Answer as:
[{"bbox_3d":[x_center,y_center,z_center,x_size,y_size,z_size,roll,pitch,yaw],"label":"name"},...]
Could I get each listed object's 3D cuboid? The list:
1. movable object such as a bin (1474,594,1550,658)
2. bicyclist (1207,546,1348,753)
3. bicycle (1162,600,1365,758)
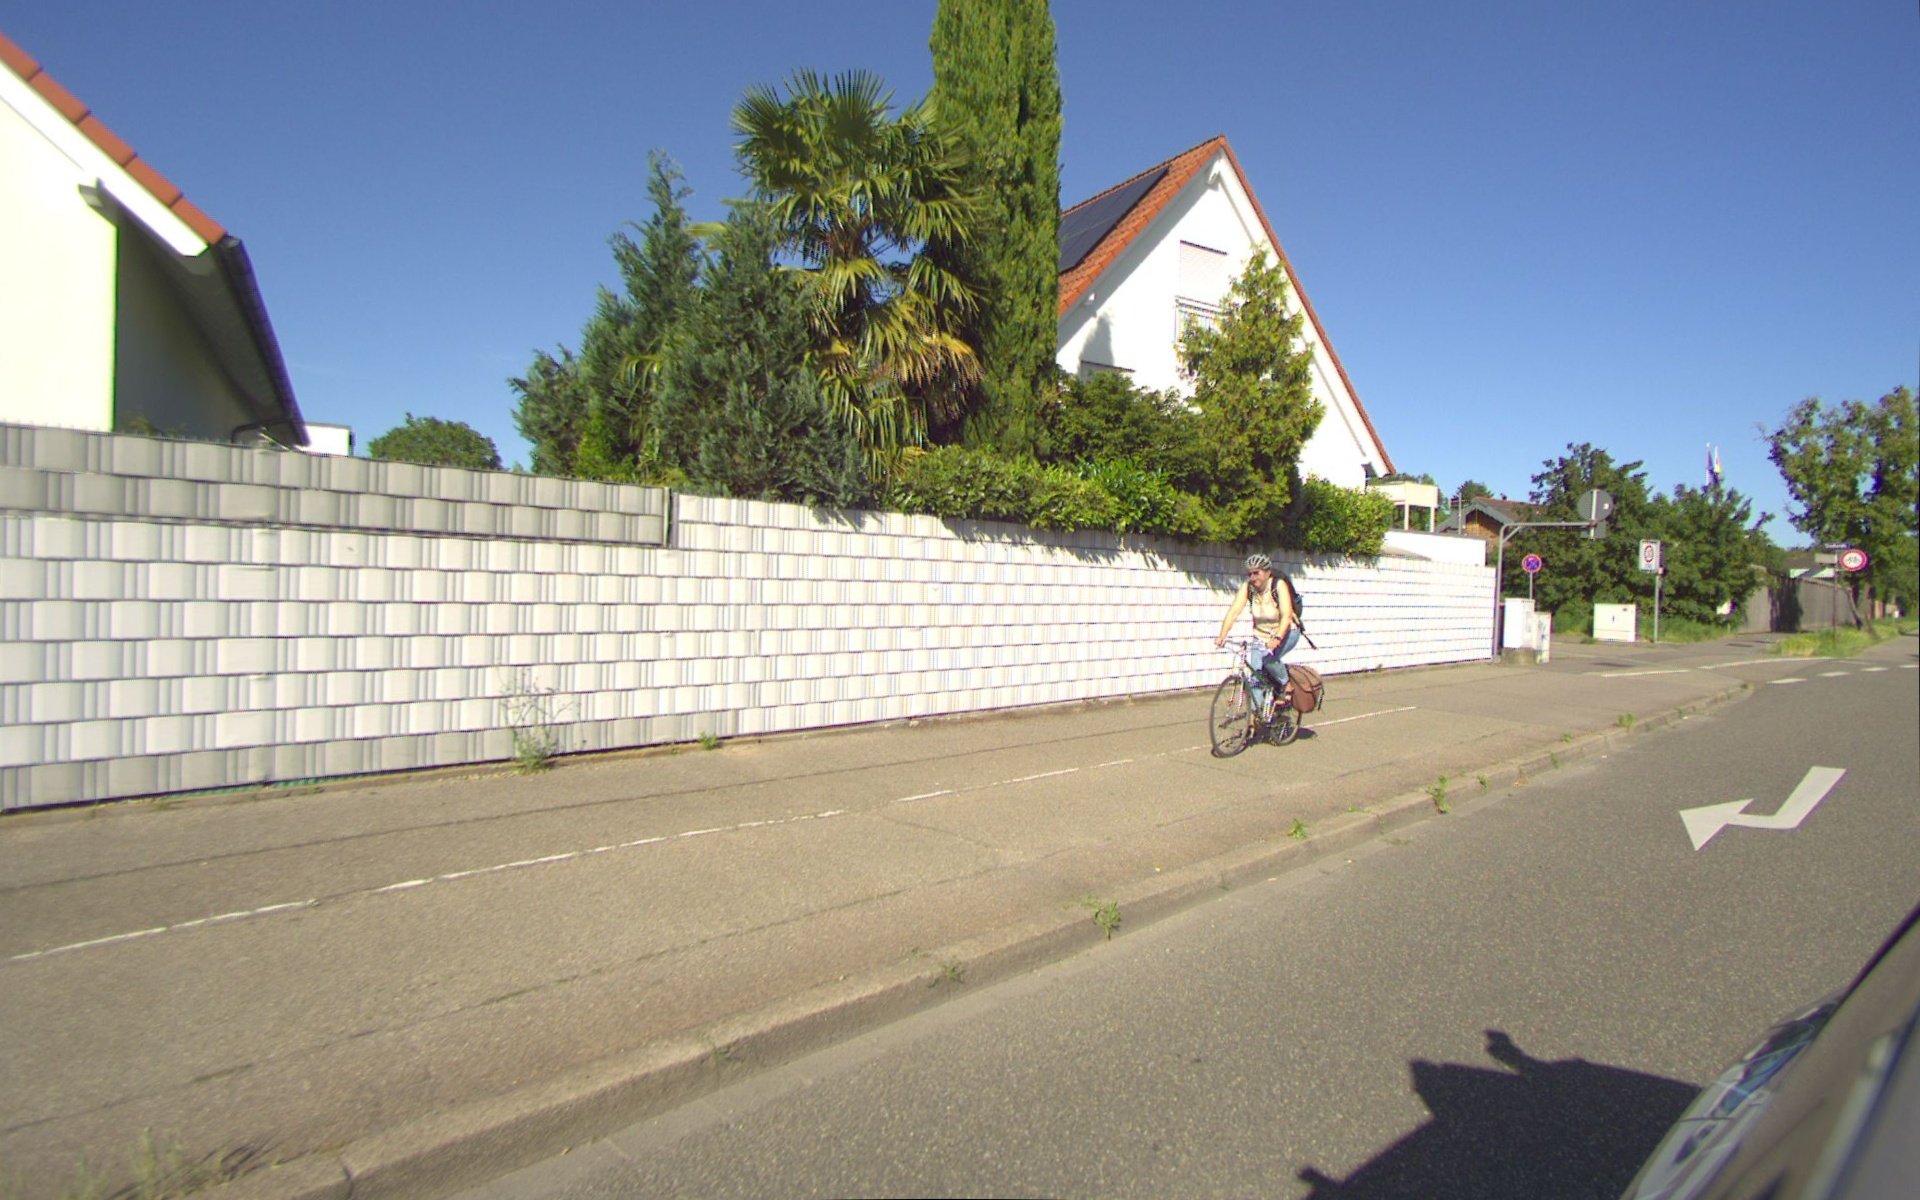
[{"bbox_3d":[11.560,0.526,21.210,1.043,1.219,1.005,0,3,-37],"label":"movable object such as a bin"},{"bbox_3d":[2.746,0.402,8.746,0.965,1.652,0.631,2,3,-42],"label":"bicyclist"},{"bbox_3d":[2.656,0.634,8.709,2.103,1.169,0.575,2,4,-42],"label":"bicycle"}]
